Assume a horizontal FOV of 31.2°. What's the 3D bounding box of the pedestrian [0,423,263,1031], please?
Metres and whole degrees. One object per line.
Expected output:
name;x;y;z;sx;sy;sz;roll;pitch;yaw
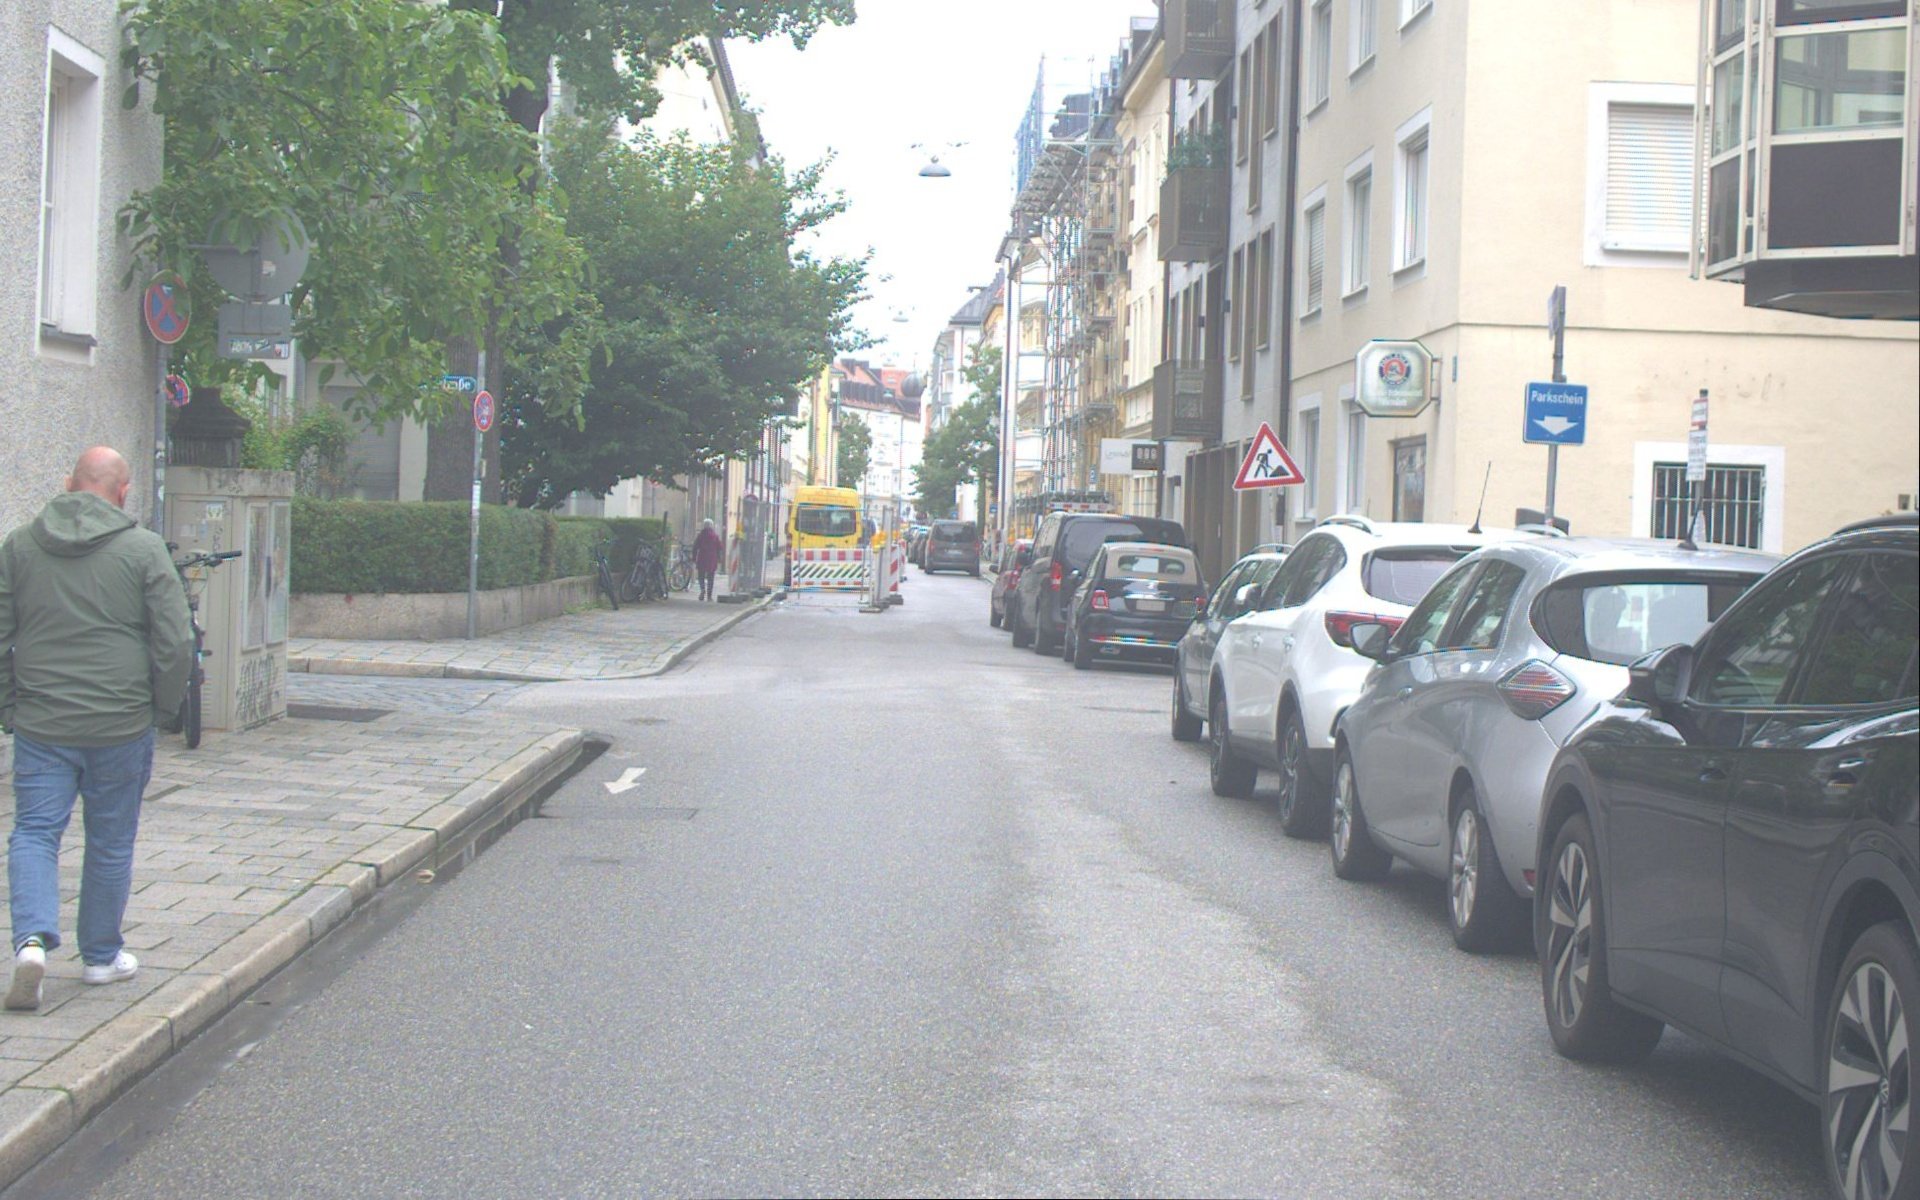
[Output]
pedestrian;-2.538;0.341;9.994;0.753;1.653;0.906;4;1;-1

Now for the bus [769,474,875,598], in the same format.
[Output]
bus;-3.588;-1.672;90.548;2.592;3.091;6.306;1;1;-1

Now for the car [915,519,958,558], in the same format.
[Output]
car;-1.046;-2.710;151.155;1.801;1.608;4.000;2;1;-1

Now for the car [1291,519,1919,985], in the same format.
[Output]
car;2.569;0.515;14.130;1.720;1.630;3.882;1;1;-5

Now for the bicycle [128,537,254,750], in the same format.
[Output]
bicycle;-4.348;0.223;19.370;0.473;1.107;1.761;2;1;-19

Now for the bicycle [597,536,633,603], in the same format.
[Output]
bicycle;-5.334;-0.473;53.235;0.414;1.017;1.854;1;1;-2

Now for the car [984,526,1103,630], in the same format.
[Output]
car;1.349;-0.390;56.995;1.635;1.509;3.829;5;1;-2

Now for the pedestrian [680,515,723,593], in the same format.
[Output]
pedestrian;-4.968;-0.881;66.203;0.756;1.486;0.831;1;1;-1

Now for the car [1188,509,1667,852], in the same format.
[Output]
car;2.405;0.342;18.753;1.748;1.624;4.197;1;1;-4

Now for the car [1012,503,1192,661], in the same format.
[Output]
car;1.811;-0.278;45.117;1.801;1.814;4.001;5;1;-4

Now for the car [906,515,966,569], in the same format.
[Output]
car;-0.873;-2.086;122.712;1.801;1.706;3.827;5;1;-3

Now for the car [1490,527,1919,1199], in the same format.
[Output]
car;2.769;0.635;8.648;1.885;1.550;4.392;2;1;-3

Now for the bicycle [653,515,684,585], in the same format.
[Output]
bicycle;-6.065;-1.038;71.562;0.514;1.413;1.934;1;1;-2

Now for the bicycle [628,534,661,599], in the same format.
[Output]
bicycle;-5.393;-0.578;58.772;0.446;1.069;2.468;1;1;-3

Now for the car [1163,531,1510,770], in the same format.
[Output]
car;2.522;0.284;23.937;1.744;1.440;4.001;2;1;-3

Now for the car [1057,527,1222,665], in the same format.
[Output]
car;2.083;-0.083;40.763;1.624;1.482;3.809;3;1;-1
